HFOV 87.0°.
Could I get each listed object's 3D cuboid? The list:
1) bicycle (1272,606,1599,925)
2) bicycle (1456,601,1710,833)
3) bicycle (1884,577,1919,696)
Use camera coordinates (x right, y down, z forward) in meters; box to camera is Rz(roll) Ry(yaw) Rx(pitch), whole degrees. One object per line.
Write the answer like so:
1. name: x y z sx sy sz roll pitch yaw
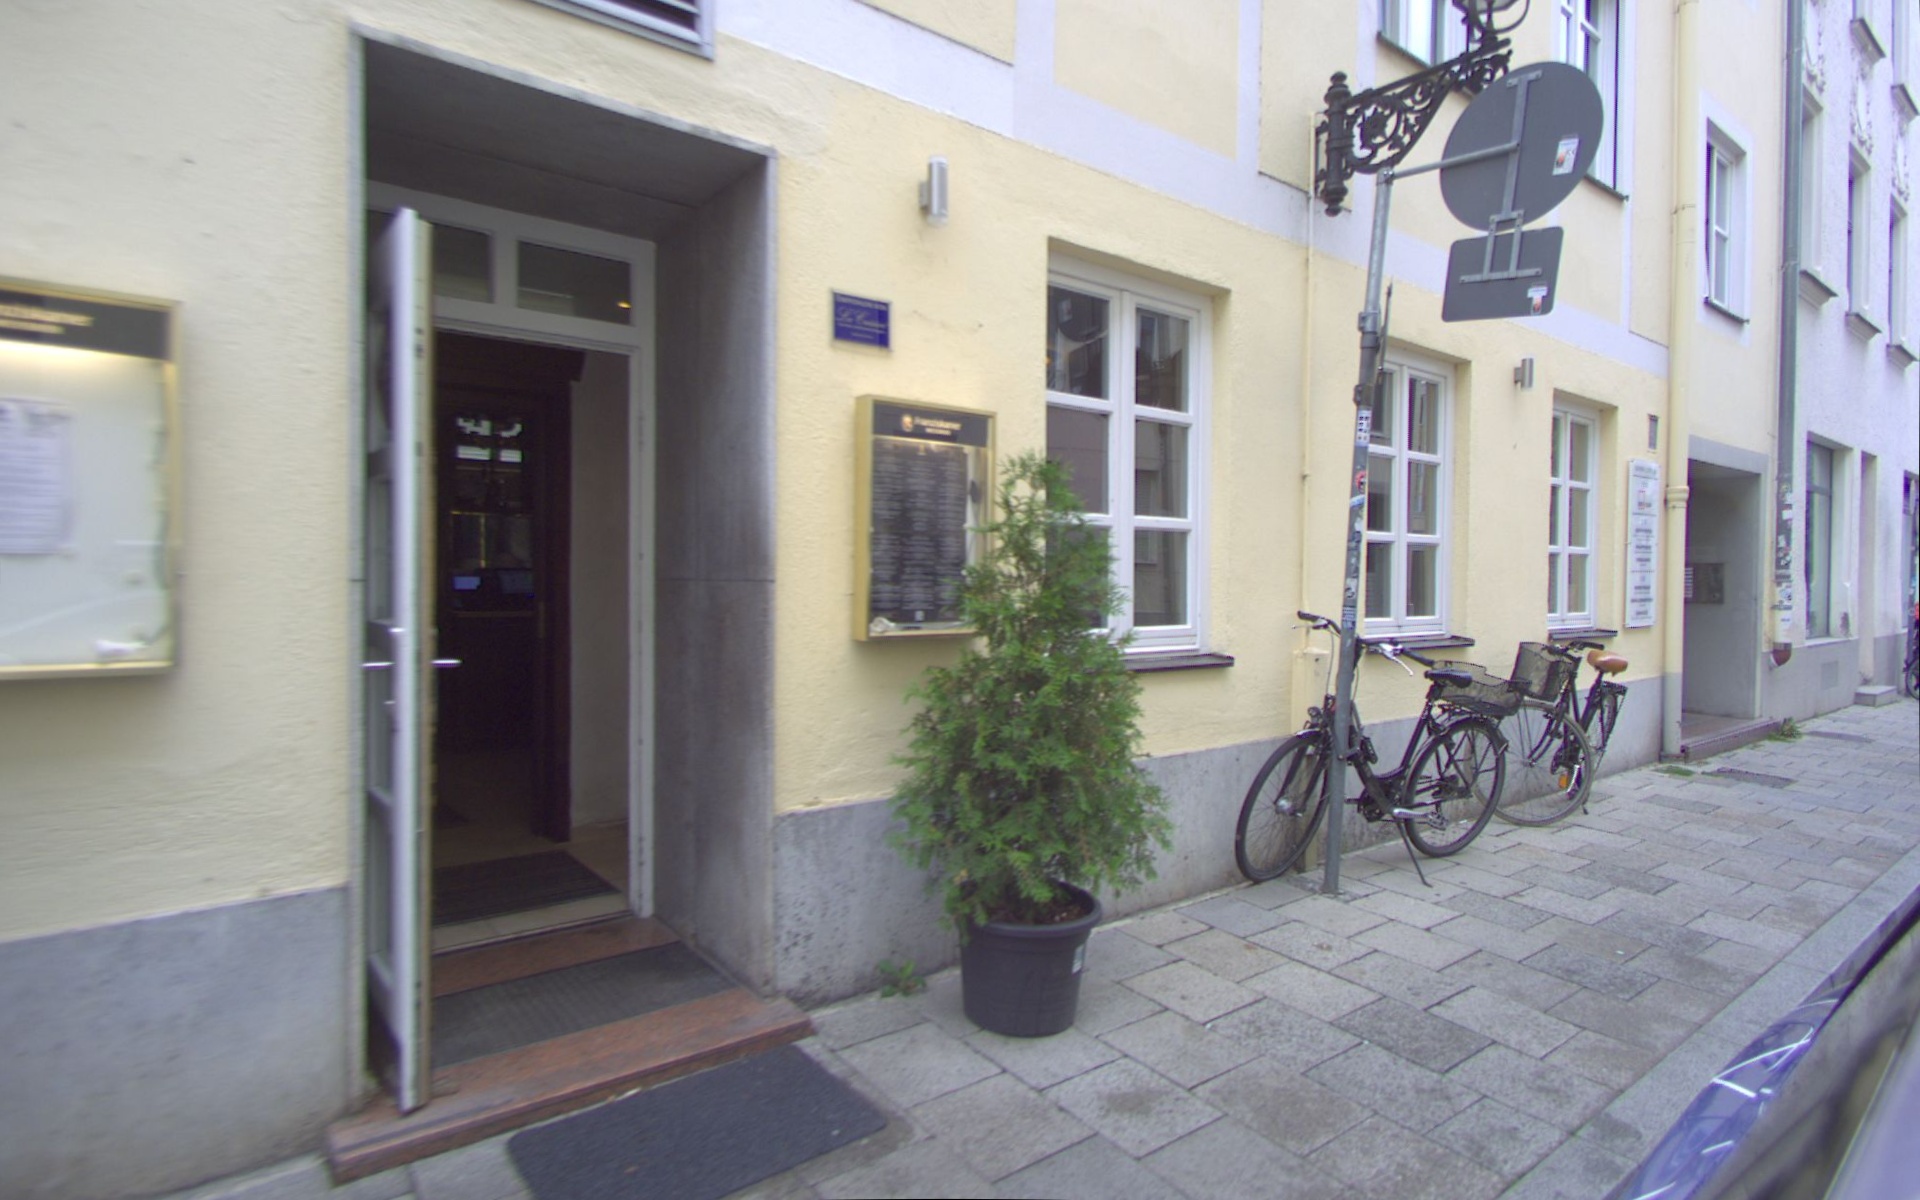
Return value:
1. bicycle: 2.163 0.627 4.516 1.653 1.150 0.567 0 3 -37
2. bicycle: 3.753 0.605 6.026 1.951 1.150 0.567 0 3 -37
3. bicycle: 12.380 0.445 12.659 2.081 1.413 0.716 0 4 -36
